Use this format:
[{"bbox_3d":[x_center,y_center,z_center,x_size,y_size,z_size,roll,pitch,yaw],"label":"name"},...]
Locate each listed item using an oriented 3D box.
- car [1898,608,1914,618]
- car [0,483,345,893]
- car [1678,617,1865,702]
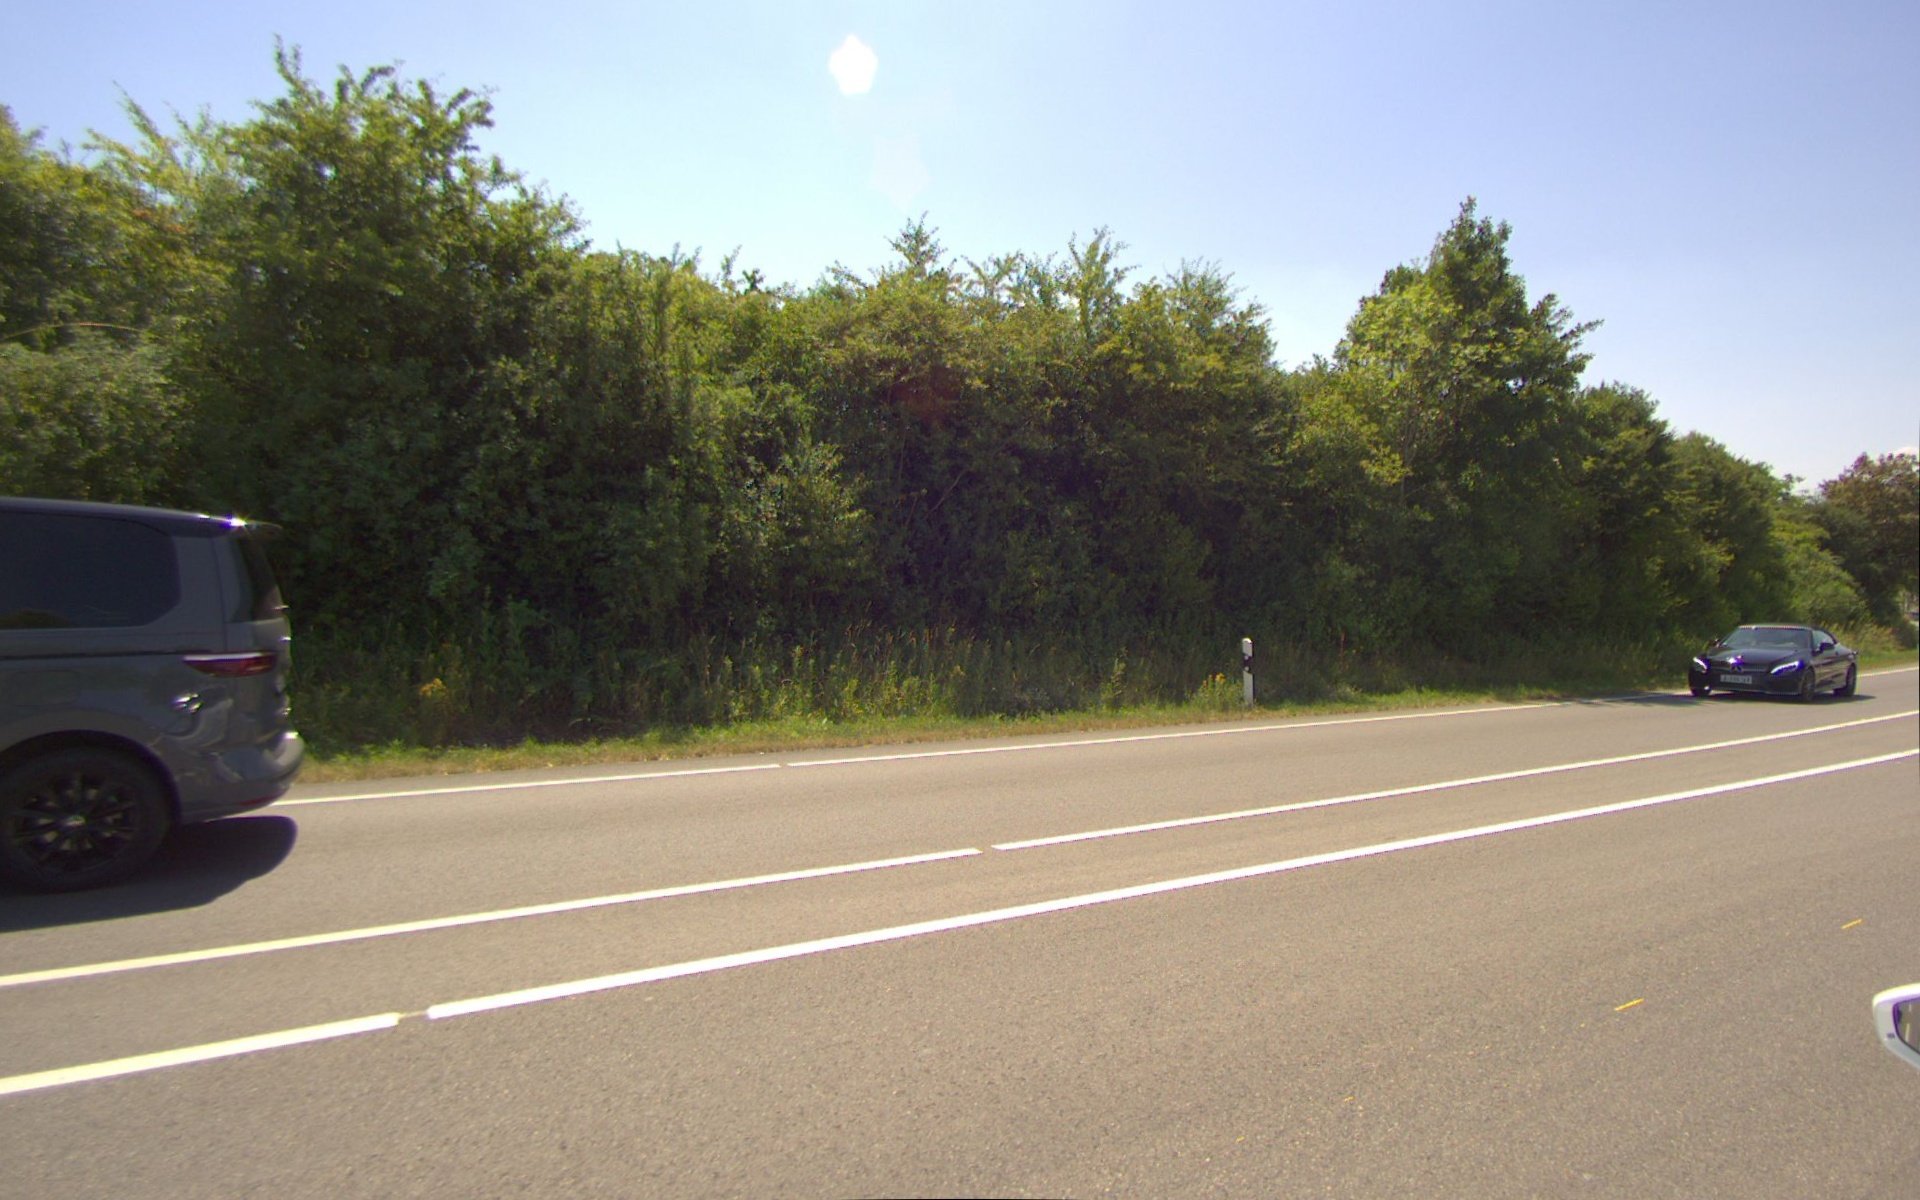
[{"bbox_3d":[168.914,2.365,179.374,1.973,1.706,3.975,1,0,44],"label":"car"},{"bbox_3d":[-5.986,0.385,4.916,5.047,1.919,1.983,1,0,-32],"label":"car"},{"bbox_3d":[16.052,1.091,19.789,4.600,1.461,1.804,1,0,-37],"label":"car"}]
